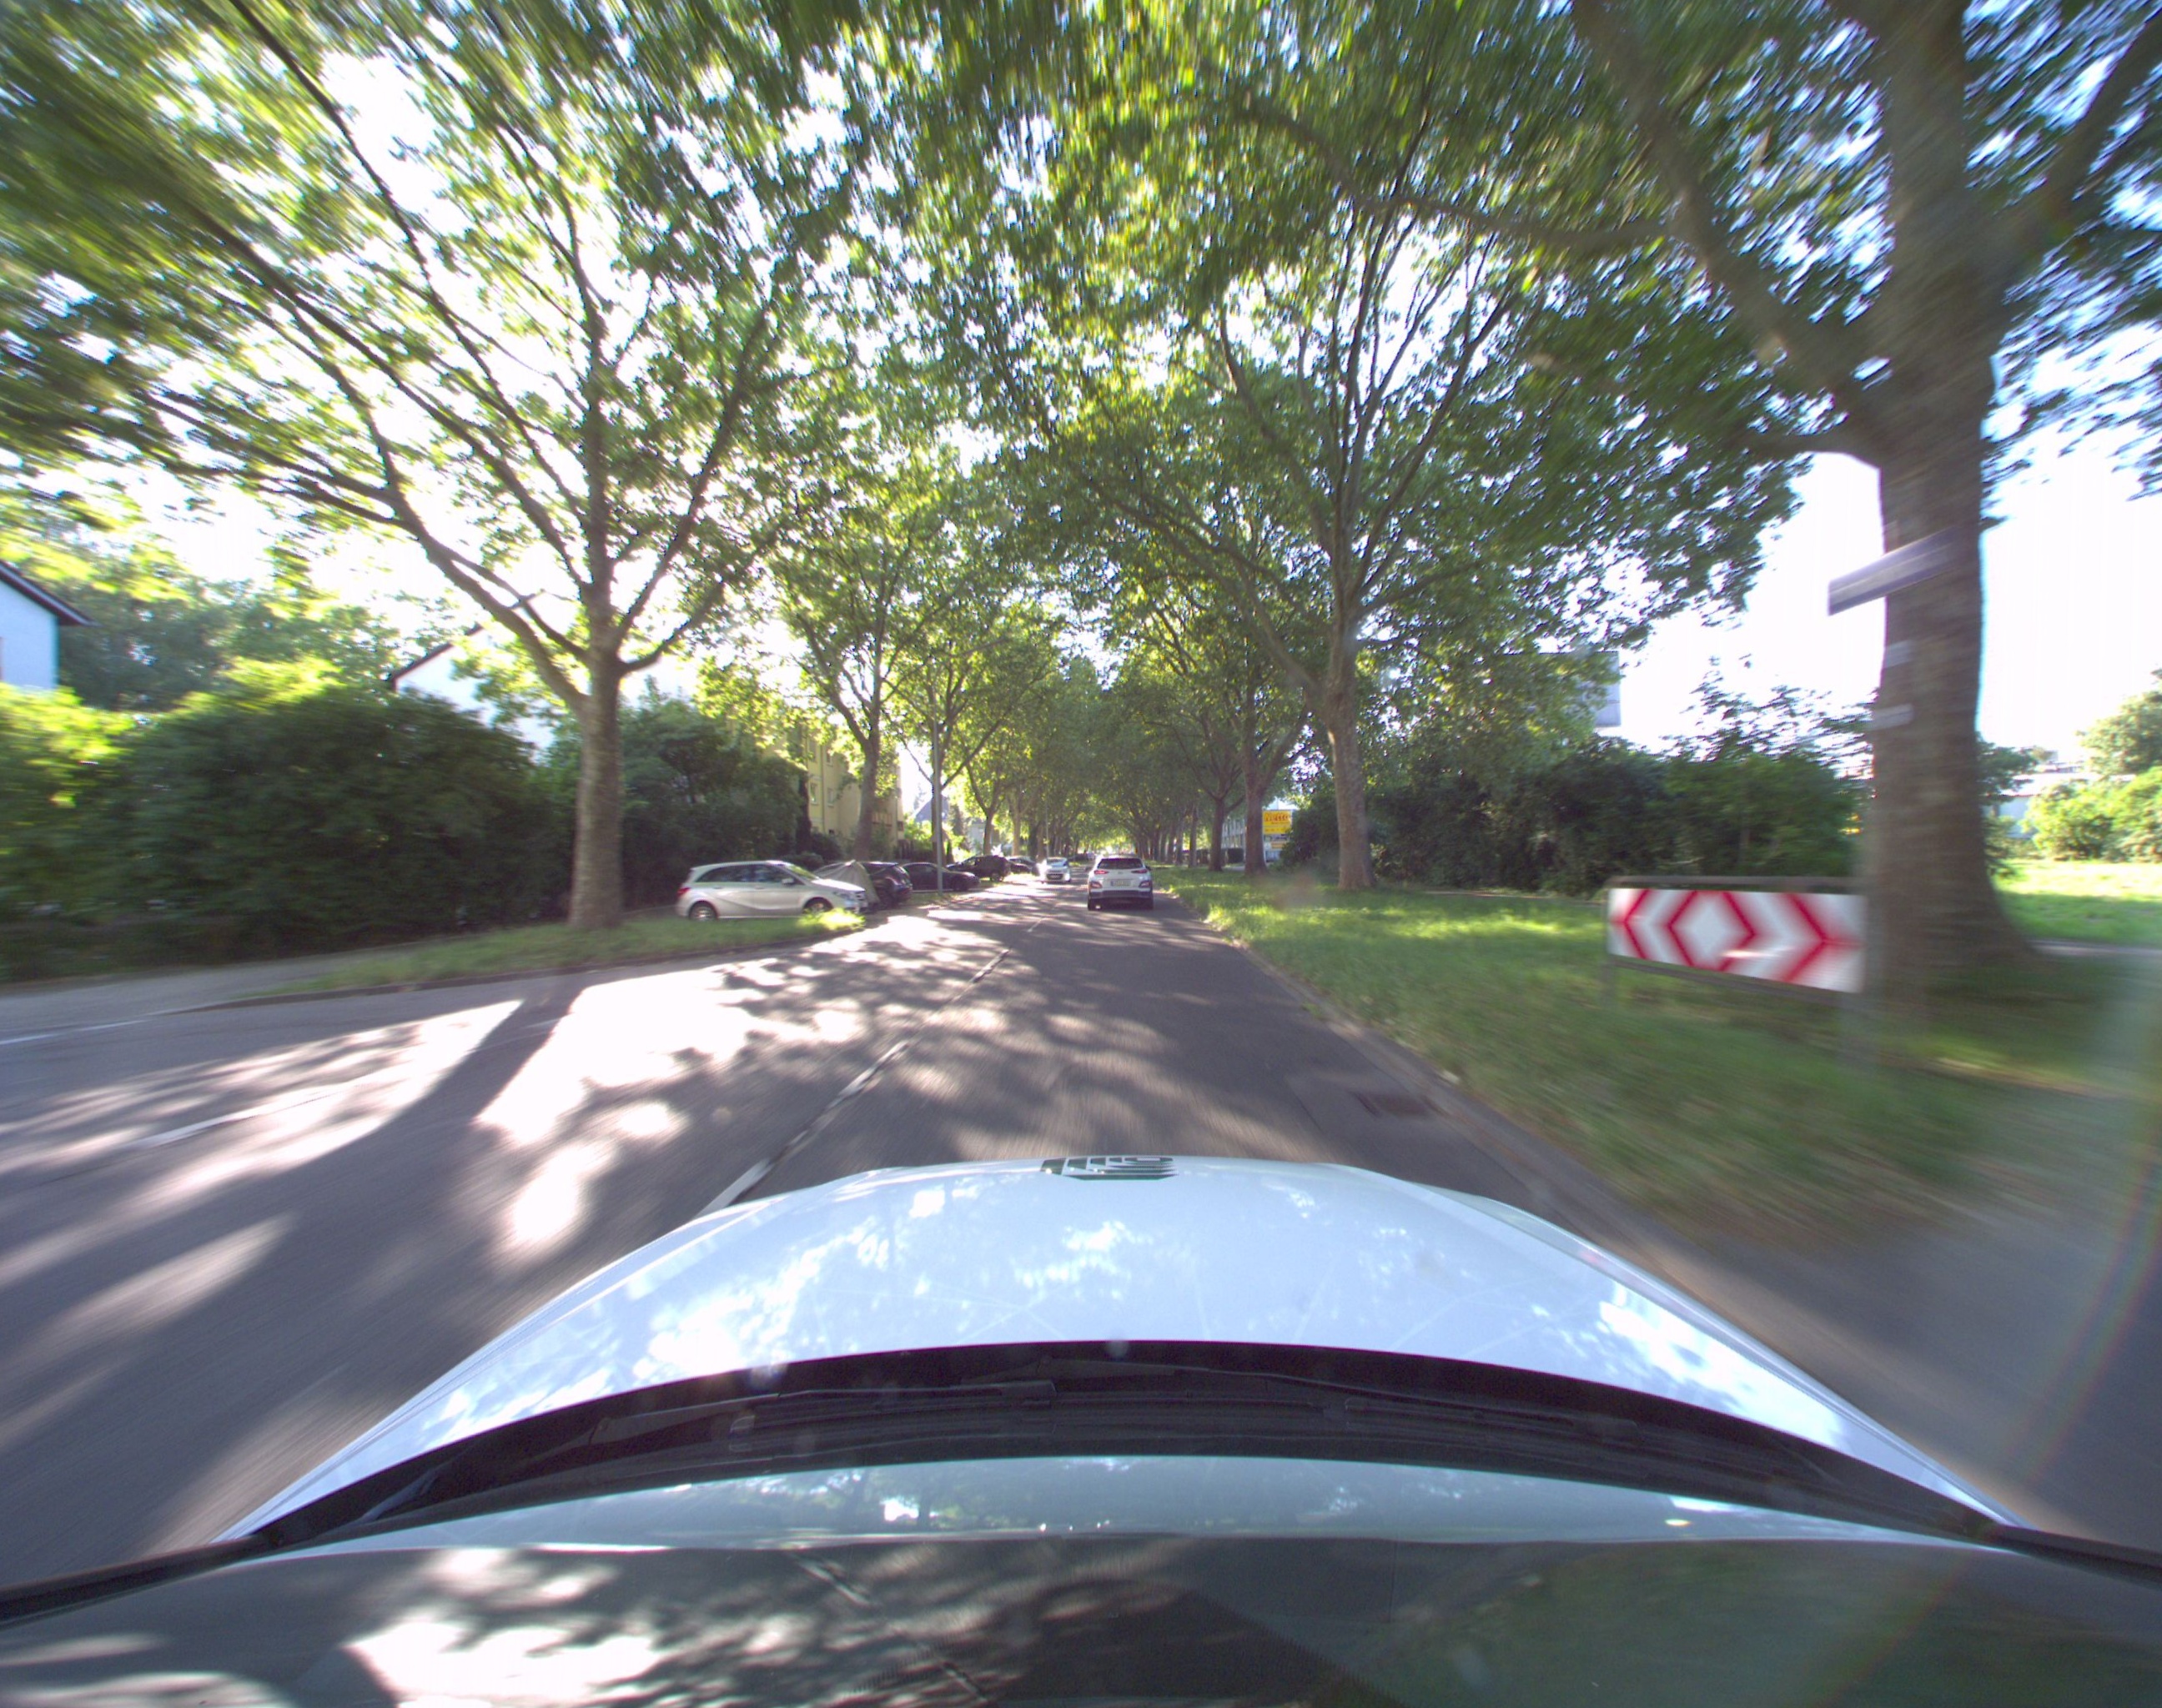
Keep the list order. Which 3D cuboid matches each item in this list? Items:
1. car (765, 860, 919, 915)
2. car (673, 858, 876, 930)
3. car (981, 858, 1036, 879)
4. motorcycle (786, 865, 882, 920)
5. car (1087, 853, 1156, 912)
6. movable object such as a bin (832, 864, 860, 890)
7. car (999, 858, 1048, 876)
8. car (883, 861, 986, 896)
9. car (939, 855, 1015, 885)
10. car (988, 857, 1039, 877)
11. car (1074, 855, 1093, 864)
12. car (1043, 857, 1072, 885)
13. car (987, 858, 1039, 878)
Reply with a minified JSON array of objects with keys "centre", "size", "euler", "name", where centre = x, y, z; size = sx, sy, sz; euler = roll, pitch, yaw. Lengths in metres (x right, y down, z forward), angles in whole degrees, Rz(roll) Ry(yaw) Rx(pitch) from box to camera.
[{"centre":[-7.227,0.991,24.963],"size":[4.149,1.506,1.801],"euler":[-2,0,-2],"name":"car"},{"centre":[-7.355,0.924,19.911],"size":[4.173,1.584,1.998],"euler":[-1,-1,-3],"name":"car"},{"centre":[-5.477,1.094,62.086],"size":[3.973,1.470,1.781],"euler":[-1,0,1],"name":"car"},{"centre":[-6.746,1.050,22.321],"size":[2.380,1.388,0.647],"euler":[-2,-1,-4],"name":"motorcycle"},{"centre":[1.155,0.777,23.814],"size":[1.828,1.556,4.002],"euler":[-1,-1,2],"name":"car"},{"centre":[-12.891,1.250,44.668],"size":[1.181,1.350,0.954],"euler":[-2,-1,2],"name":"movable object such as a bin"},{"centre":[-4.916,1.103,69.974],"size":[3.970,1.470,1.811],"euler":[-1,0,3],"name":"car"},{"centre":[-6.537,1.084,36.621],"size":[4.226,1.353,1.741],"euler":[-2,-1,0],"name":"car"},{"centre":[-6.177,0.940,48.742],"size":[4.228,1.680,1.671],"euler":[-2,0,1],"name":"car"},{"centre":[-5.572,1.040,67.353],"size":[3.973,1.520,1.809],"euler":[-1,0,1],"name":"car"},{"centre":[0.596,1.215,176.552],"size":[3.977,1.772,1.998],"euler":[-1,-1,-3],"name":"car"},{"centre":[-1.308,0.944,46.062],"size":[1.530,1.459,3.184],"euler":[-2,0,0],"name":"car"},{"centre":[-5.345,1.087,64.367],"size":[3.977,1.424,1.808],"euler":[-1,0,-2],"name":"car"}]
